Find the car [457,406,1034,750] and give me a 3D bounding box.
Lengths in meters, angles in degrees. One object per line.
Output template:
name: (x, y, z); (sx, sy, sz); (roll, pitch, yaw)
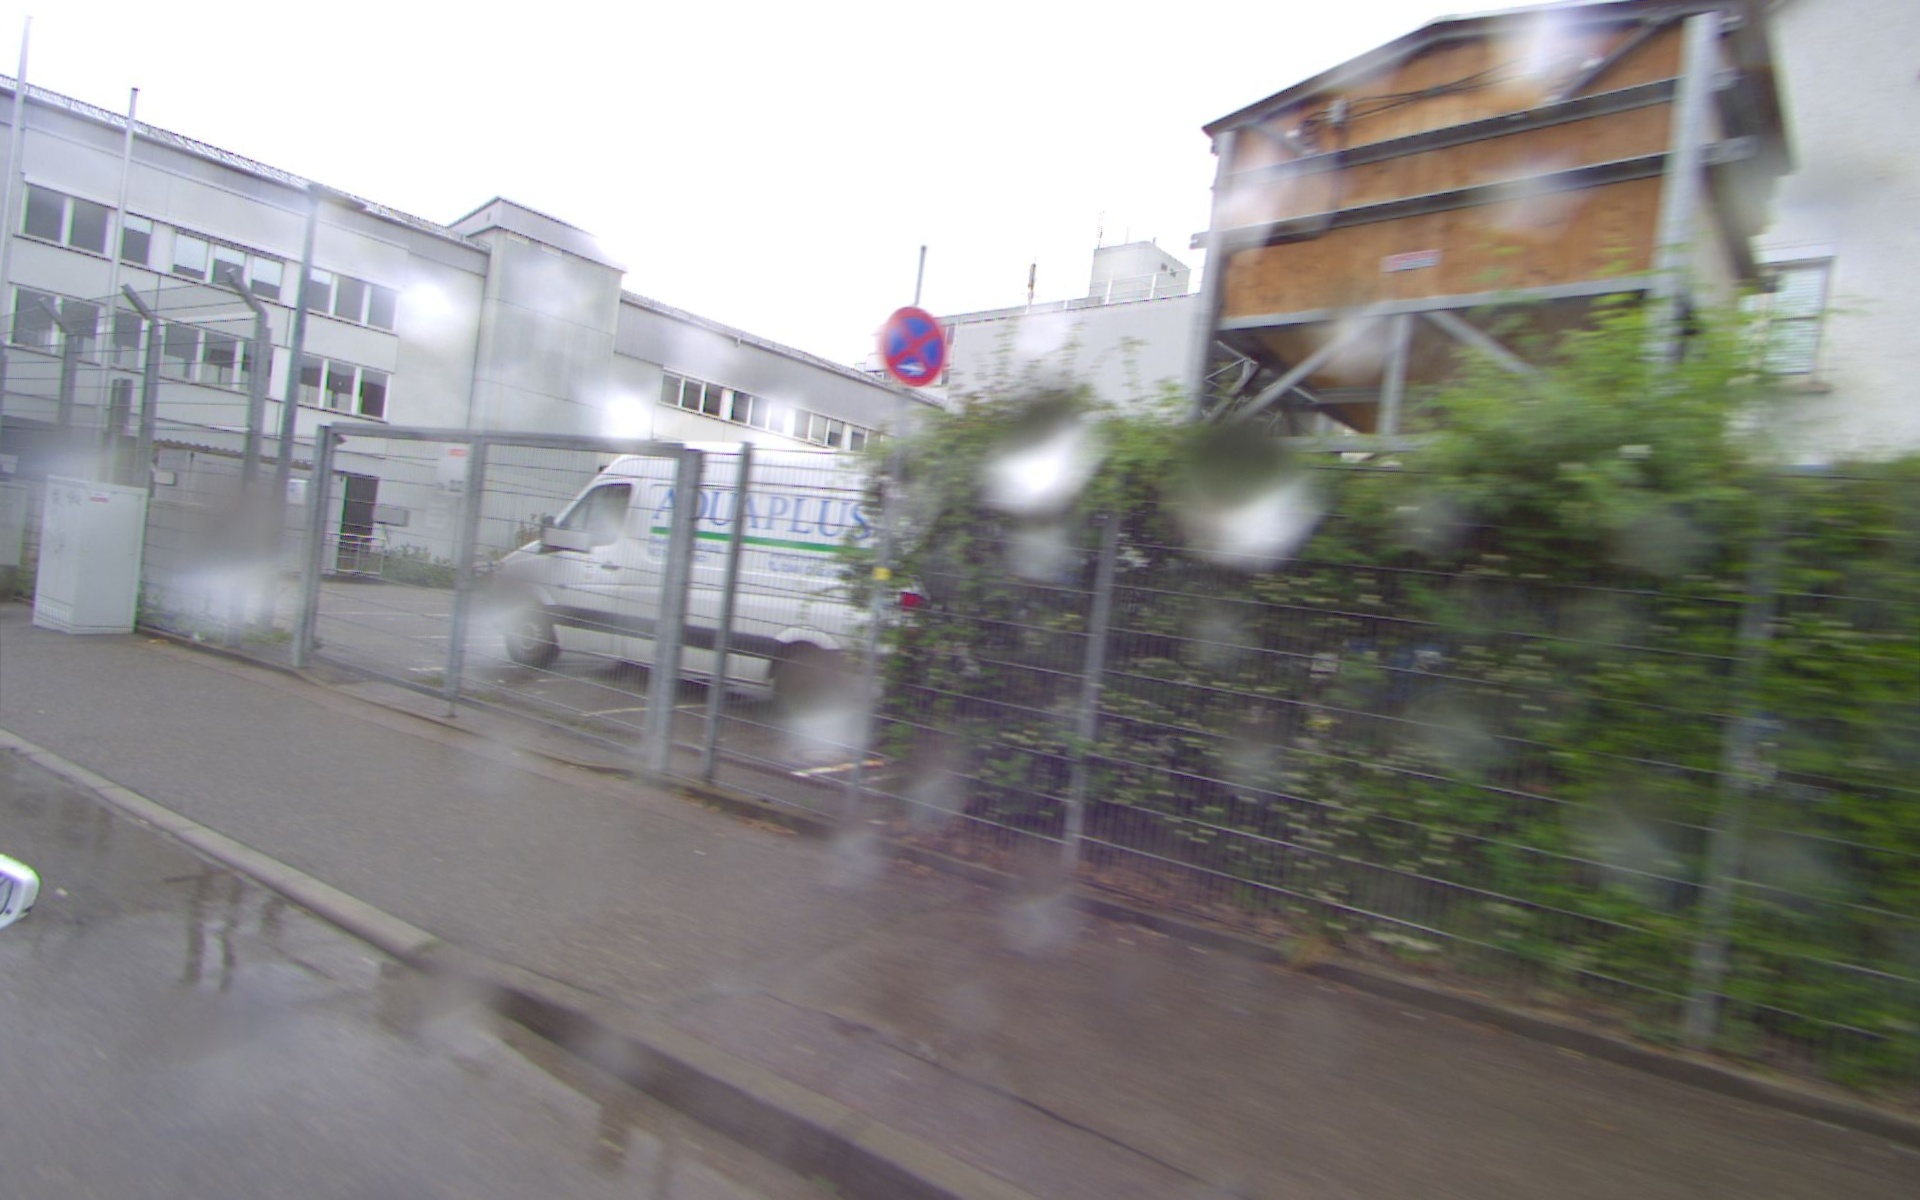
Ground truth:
car: (-2.433, -0.390, 10.874); (5.845, 2.720, 1.997); (8, 3, 25)
